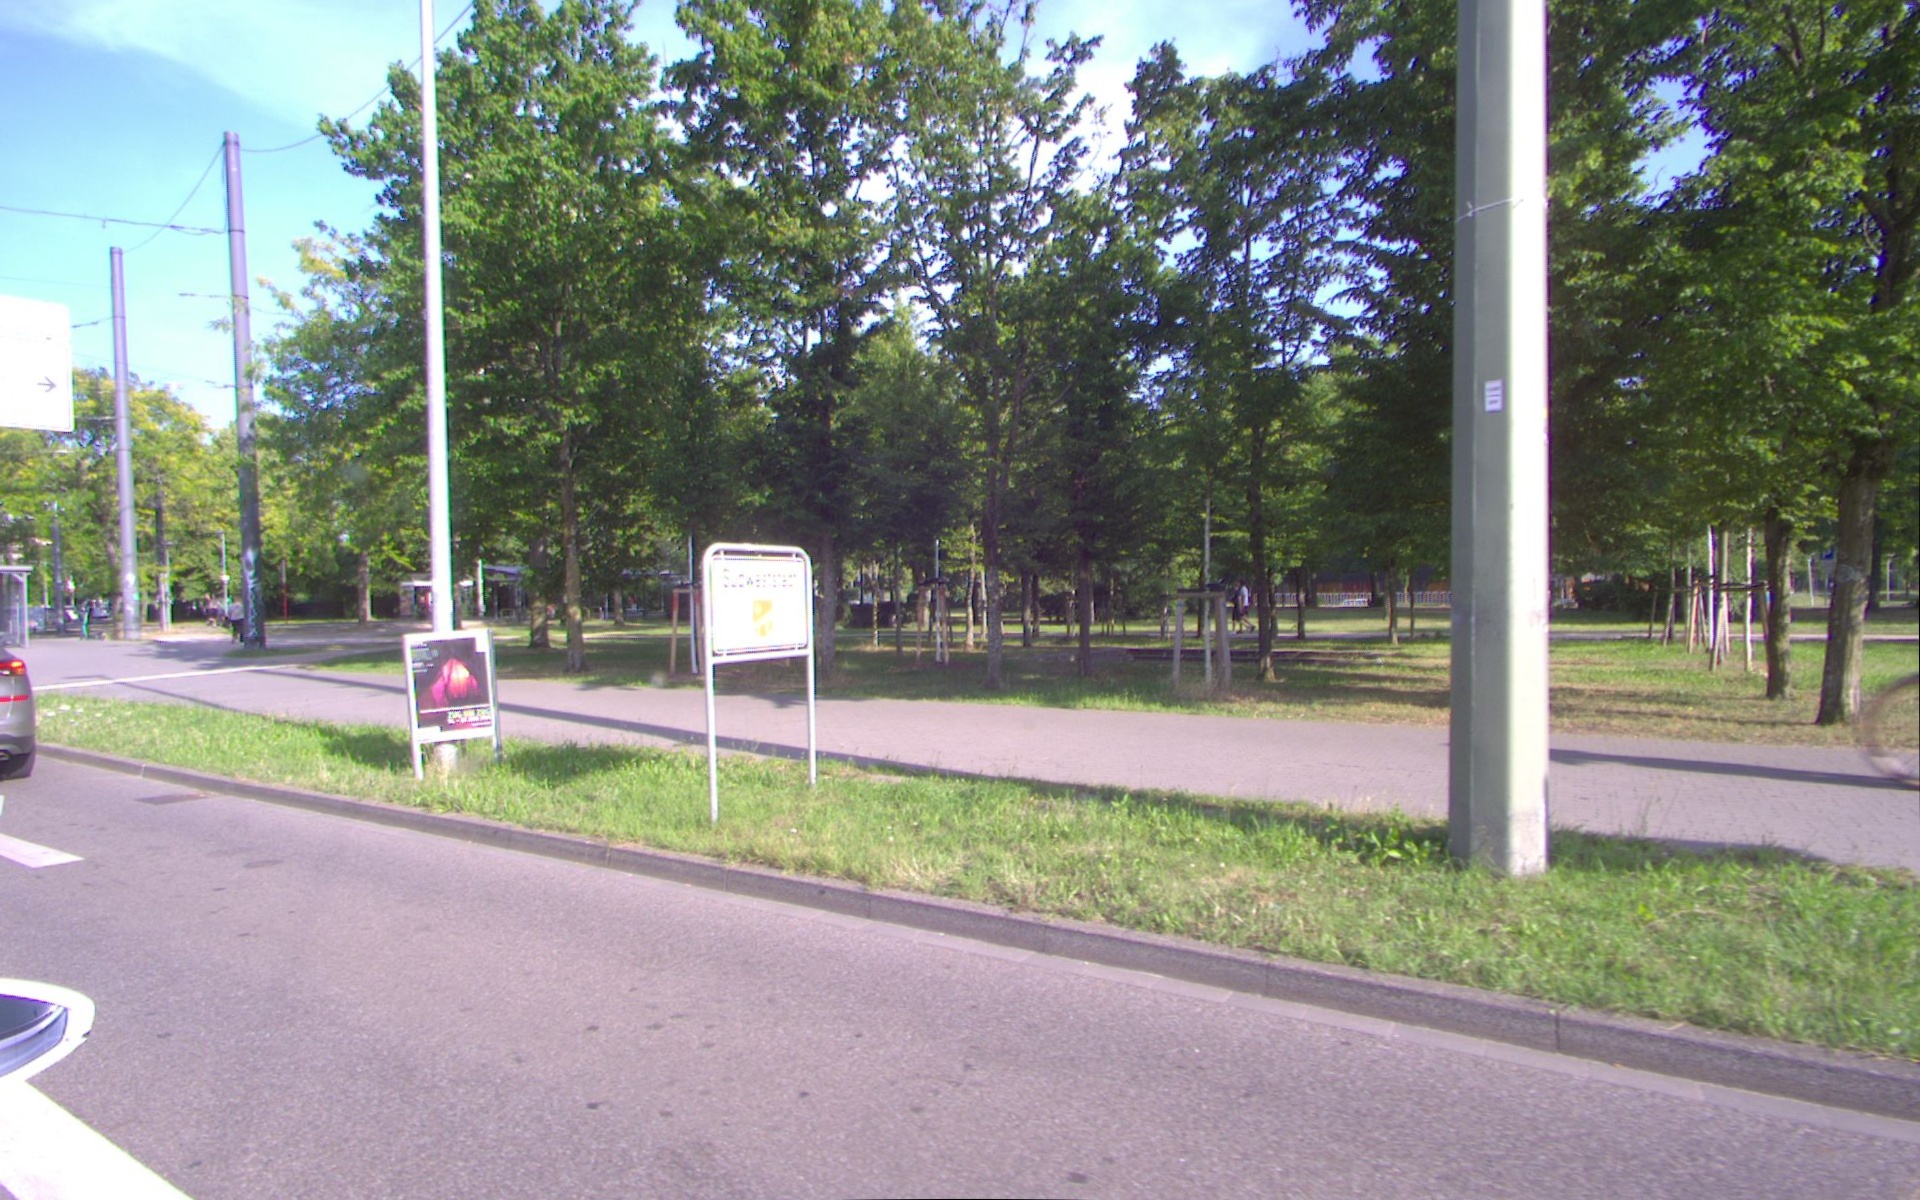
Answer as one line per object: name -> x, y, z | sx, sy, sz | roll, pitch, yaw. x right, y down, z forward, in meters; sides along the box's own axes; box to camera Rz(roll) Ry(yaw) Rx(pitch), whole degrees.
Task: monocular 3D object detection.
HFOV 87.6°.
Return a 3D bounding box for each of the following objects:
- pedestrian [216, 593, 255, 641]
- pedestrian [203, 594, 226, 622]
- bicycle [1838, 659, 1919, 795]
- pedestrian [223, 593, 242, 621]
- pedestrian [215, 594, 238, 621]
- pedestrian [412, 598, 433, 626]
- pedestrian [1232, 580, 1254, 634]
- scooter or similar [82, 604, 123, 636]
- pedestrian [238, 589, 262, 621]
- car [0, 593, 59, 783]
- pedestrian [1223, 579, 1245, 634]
pedestrian -> -25.230, 0.591, 34.862 | 0.793, 1.659, 0.754 | -1, 1, -7
pedestrian -> -41.388, 0.451, 55.563 | 0.687, 1.508, 0.815 | -1, 1, -9
bicycle -> 6.517, 0.765, 5.760 | 2.137, 0.767, 0.494 | -1, 2, 33
pedestrian -> -40.348, 0.396, 55.547 | 0.804, 1.508, 0.696 | -2, 1, -33
pedestrian -> -41.452, 0.406, 56.590 | 0.688, 1.508, 0.813 | 0, 1, 22
pedestrian -> -32.274, 0.715, 60.139 | 0.792, 1.659, 0.833 | 0, 1, 38
pedestrian -> 9.683, 0.249, 34.326 | 0.617, 1.836, 0.502 | -1, 1, 3
scooter or similar -> -31.687, 0.734, 36.992 | 1.305, 1.132, 0.420 | -1, 1, 13
pedestrian -> -40.610, 0.283, 57.277 | 0.826, 1.809, 0.798 | 0, 1, 28
car -> -10.243, 0.800, 9.284 | 3.595, 1.673, 1.880 | -1, 1, 32
pedestrian -> 9.223, 0.231, 33.748 | 0.617, 1.836, 0.502 | -1, 1, 6
